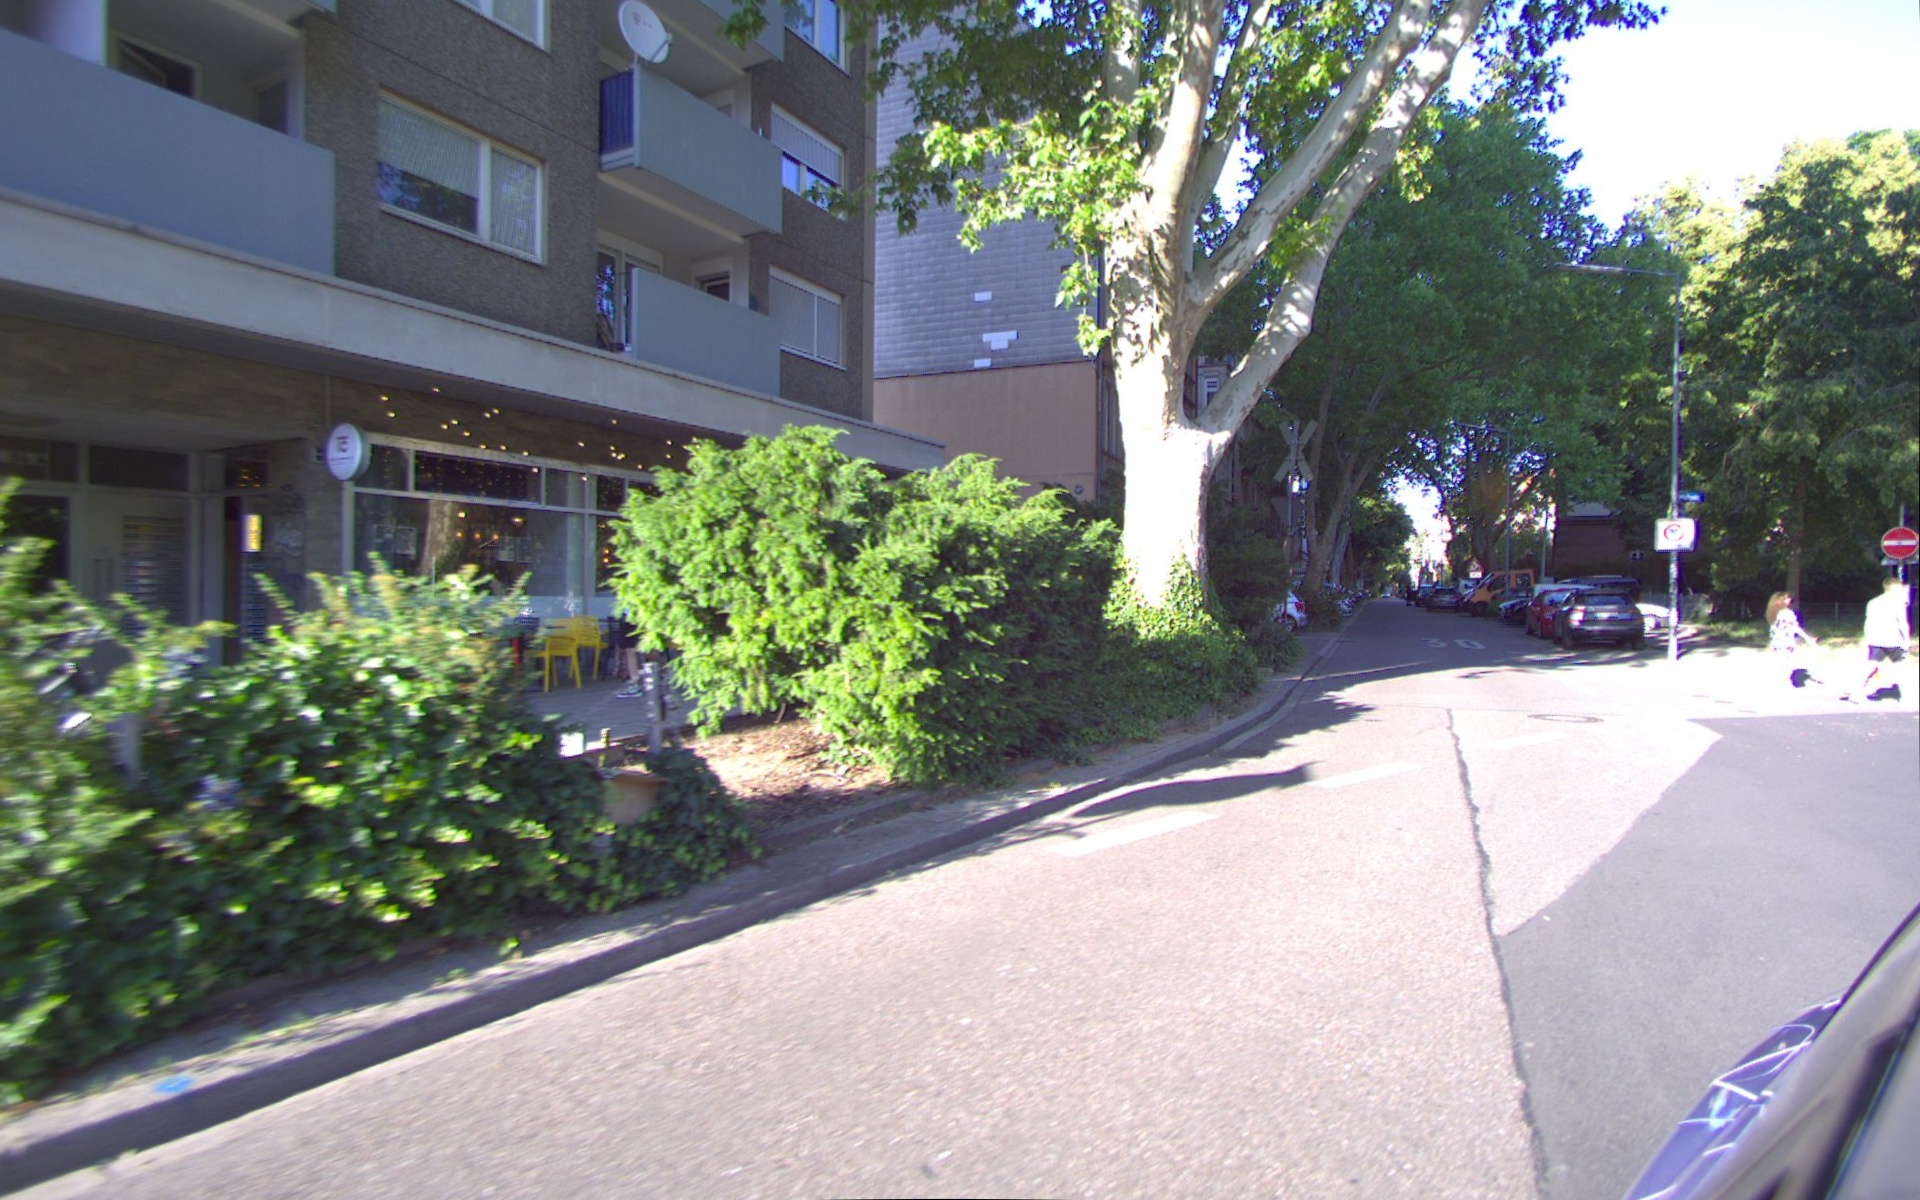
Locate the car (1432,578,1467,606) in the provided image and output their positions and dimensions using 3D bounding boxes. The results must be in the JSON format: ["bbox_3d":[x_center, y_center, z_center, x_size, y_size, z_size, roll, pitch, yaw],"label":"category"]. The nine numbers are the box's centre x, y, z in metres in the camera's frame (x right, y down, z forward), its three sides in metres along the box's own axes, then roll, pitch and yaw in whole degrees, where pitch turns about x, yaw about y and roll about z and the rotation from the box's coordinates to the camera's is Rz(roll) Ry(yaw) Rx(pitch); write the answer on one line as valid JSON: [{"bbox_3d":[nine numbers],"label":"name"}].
[{"bbox_3d":[28.039,-0.489,58.010,1.589,1.486,3.969,2,2,23],"label":"car"}]

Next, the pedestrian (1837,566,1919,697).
[{"bbox_3d":[13.197,0.432,14.403,0.701,1.803,0.816,0,1,-14],"label":"pedestrian"}]

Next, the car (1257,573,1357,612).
[{"bbox_3d":[16.648,-0.377,48.758,4.427,1.651,1.724,2,1,19],"label":"car"}]

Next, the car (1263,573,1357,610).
[{"bbox_3d":[17.696,-0.460,51.321,4.427,1.651,1.724,2,2,19],"label":"car"}]

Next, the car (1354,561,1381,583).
[{"bbox_3d":[38.301,-2.581,94.975,1.981,2.039,3.962,1,1,28],"label":"car"}]

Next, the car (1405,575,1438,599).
[{"bbox_3d":[33.525,-0.976,73.601,1.713,1.653,4.471,2,1,20],"label":"car"}]

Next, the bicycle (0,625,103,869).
[{"bbox_3d":[-4.461,0.659,4.429,0.347,1.051,1.039,1,1,36],"label":"bicycle"}]

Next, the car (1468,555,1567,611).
[{"bbox_3d":[30.768,-0.923,55.954,4.585,3.004,1.596,0,1,22],"label":"car"}]

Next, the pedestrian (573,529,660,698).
[{"bbox_3d":[-3.784,0.136,11.171,0.681,1.796,0.628,1,1,33],"label":"pedestrian"}]

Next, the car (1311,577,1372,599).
[{"bbox_3d":[30.592,-0.981,81.290,4.427,1.651,1.724,2,1,19],"label":"car"}]

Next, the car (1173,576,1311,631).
[{"bbox_3d":[8.654,0.068,31.097,3.949,1.491,1.724,2,1,19],"label":"car"}]

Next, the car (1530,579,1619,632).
[{"bbox_3d":[18.905,0.125,31.317,1.725,1.467,4.608,-1,1,24],"label":"car"}]

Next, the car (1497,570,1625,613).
[{"bbox_3d":[24.866,-0.325,42.035,4.358,1.511,1.770,-3,-1,27],"label":"car"}]

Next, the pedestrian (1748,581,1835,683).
[{"bbox_3d":[13.859,0.519,16.888,0.701,1.628,0.816,3,0,-14],"label":"pedestrian"}]

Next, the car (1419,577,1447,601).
[{"bbox_3d":[32.468,-0.774,69.488,1.582,1.486,2.977,2,2,23],"label":"car"}]

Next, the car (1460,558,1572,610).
[{"bbox_3d":[26.965,-0.785,49.227,4.585,2.443,1.596,0,1,22],"label":"car"}]

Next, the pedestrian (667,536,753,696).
[{"bbox_3d":[-2.787,0.161,11.298,0.681,1.713,0.637,1,1,33],"label":"pedestrian"}]

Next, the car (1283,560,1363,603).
[{"bbox_3d":[22.501,-1.168,62.943,4.533,2.533,1.724,2,1,19],"label":"car"}]

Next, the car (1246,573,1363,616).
[{"bbox_3d":[14.702,-0.269,43.248,4.451,1.651,1.715,3,1,32],"label":"car"}]

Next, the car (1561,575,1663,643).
[{"bbox_3d":[16.881,0.205,26.383,1.725,1.572,4.237,-3,-1,27],"label":"car"}]

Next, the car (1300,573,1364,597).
[{"bbox_3d":[28.123,-1.117,76.547,4.427,1.651,1.724,2,1,19],"label":"car"}]

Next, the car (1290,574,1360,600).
[{"bbox_3d":[25.128,-0.927,69.872,4.427,1.651,1.724,2,1,19],"label":"car"}]

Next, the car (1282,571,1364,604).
[{"bbox_3d":[21.696,-0.754,60.615,4.533,1.787,1.724,2,1,19],"label":"car"}]

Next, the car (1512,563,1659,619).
[{"bbox_3d":[22.905,-0.310,37.269,4.358,1.799,1.769,-3,-1,27],"label":"car"}]

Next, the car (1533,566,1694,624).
[{"bbox_3d":[22.243,-0.140,34.659,4.358,1.729,1.717,-3,-1,27],"label":"car"}]

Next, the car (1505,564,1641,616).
[{"bbox_3d":[24.017,-0.360,39.866,4.358,1.799,1.769,-3,-1,27],"label":"car"}]

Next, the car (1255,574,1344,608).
[{"bbox_3d":[18.252,-0.526,54.544,4.427,1.651,1.724,2,1,19],"label":"car"}]
